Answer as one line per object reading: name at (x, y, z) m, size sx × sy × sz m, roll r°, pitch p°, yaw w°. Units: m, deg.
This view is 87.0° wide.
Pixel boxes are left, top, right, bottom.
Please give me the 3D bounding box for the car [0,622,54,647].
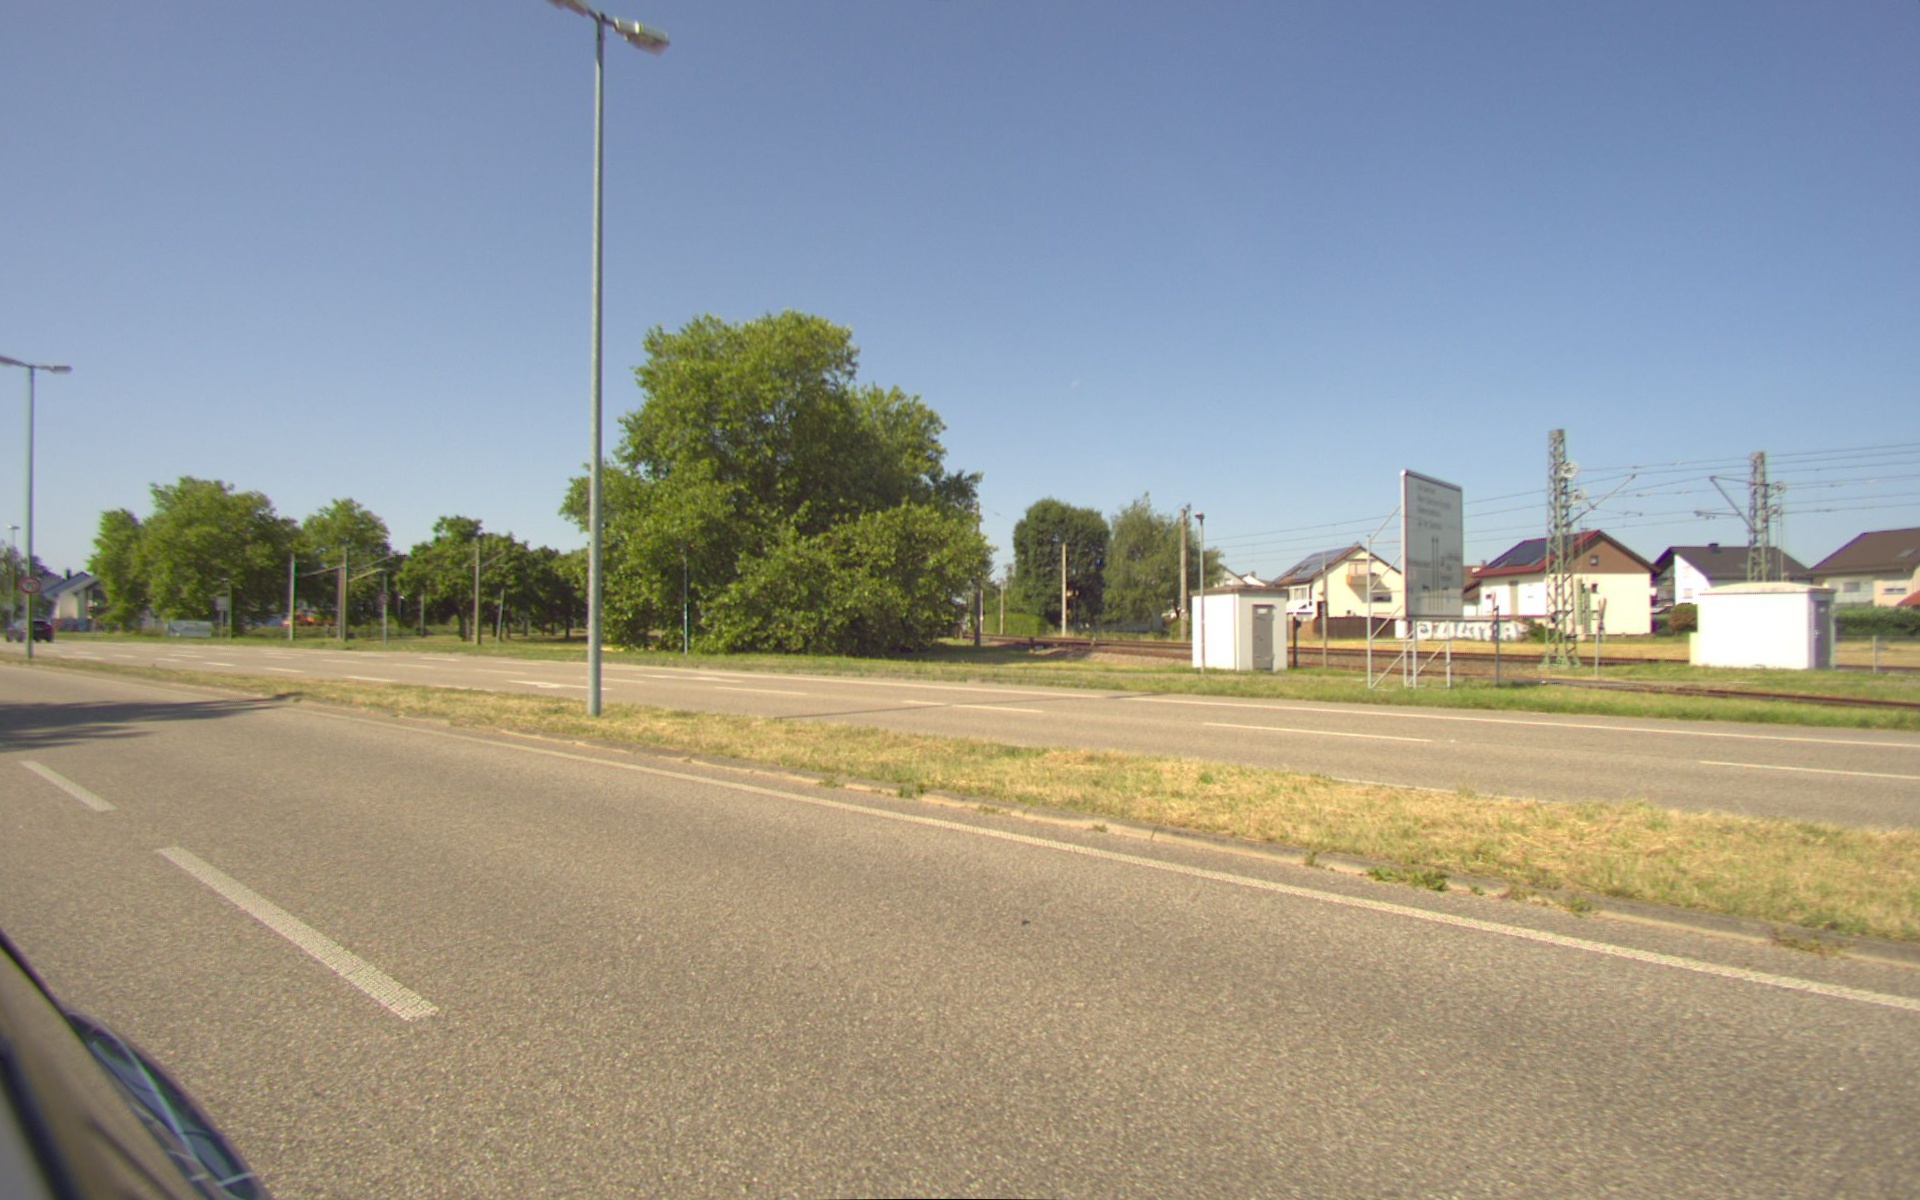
car at (-66.207, 2.435, 71.798) m, size 4.545 × 1.672 × 1.965 m, roll -1°, pitch -2°, yaw 36°
